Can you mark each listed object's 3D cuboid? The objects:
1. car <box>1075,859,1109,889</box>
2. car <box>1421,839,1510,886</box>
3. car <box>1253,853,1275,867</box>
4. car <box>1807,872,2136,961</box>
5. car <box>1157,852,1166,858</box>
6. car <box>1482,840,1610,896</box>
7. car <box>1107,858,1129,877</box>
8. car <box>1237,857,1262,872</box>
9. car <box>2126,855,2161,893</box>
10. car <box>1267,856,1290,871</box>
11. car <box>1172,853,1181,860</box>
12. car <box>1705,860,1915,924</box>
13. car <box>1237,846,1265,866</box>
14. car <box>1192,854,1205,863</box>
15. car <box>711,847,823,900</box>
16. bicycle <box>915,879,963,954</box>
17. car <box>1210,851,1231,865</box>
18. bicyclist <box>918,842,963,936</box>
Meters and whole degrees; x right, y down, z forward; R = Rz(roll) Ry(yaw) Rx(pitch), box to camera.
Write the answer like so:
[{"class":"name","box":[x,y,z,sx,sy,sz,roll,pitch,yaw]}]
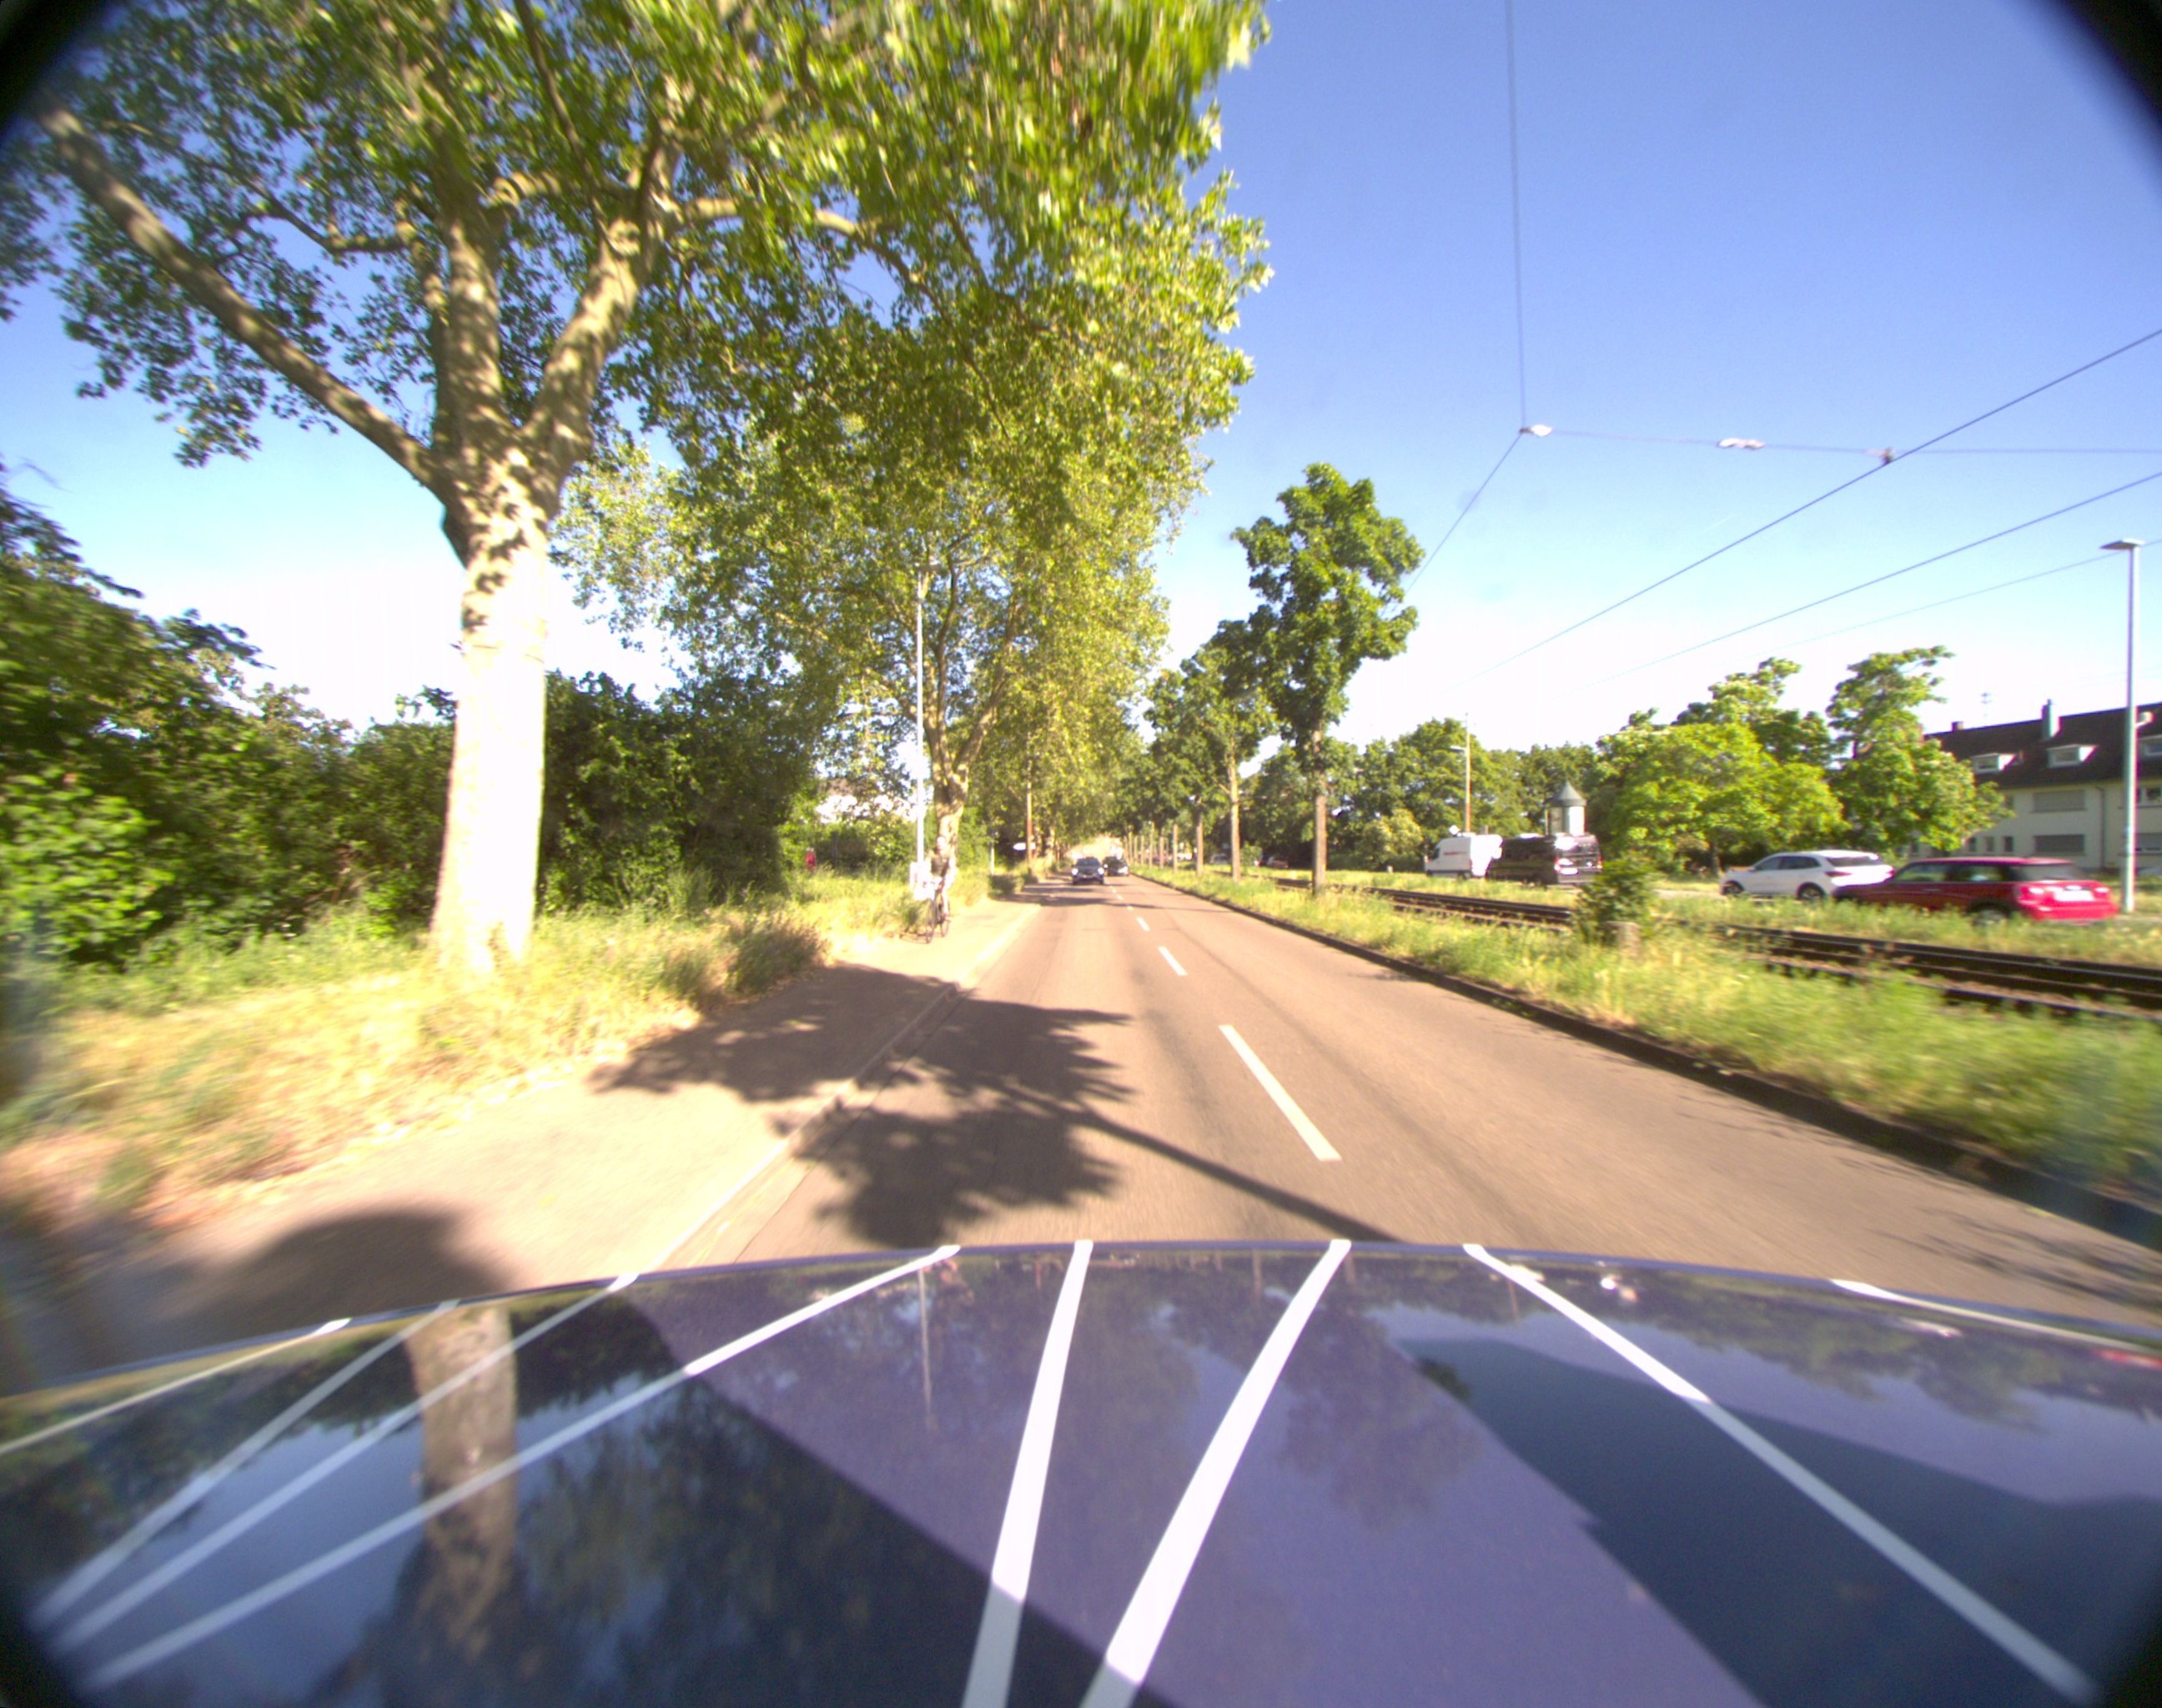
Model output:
[{"class":"car","box":[0.584,1.082,42.738,1.808,1.478,3.546,-2,1,0]},{"class":"car","box":[22.085,0.448,44.012,2.006,2.482,6.136,-2,1,0]},{"class":"car","box":[22.620,0.707,94.076,1.626,1.613,4.532,-2,1,1]},{"class":"car","box":[16.774,1.091,14.683,1.680,1.401,4.000,0,0,1]},{"class":"car","box":[20.182,0.288,190.313,1.731,1.519,4.442,-2,1,2]},{"class":"car","box":[21.770,0.558,36.014,2.188,2.362,6.464,-2,1,1]},{"class":"car","box":[3.110,1.093,63.925,1.714,1.478,3.547,-2,1,2]},{"class":"car","box":[17.677,1.106,79.869,1.998,1.522,3.751,0,0,2]},{"class":"car","box":[58.908,1.081,40.057,2.000,2.002,3.997,-2,1,-8]},{"class":"car","box":[22.618,1.104,86.992,1.678,1.575,4.248,-2,1,3]},{"class":"car","box":[21.950,0.583,175.039,1.731,1.519,4.442,-2,1,2]},{"class":"car","box":[21.643,1.047,22.905,1.827,1.598,4.773,-2,1,1]},{"class":"car","box":[22.696,0.304,101.608,2.231,2.565,6.799,-2,0,1]},{"class":"car","box":[19.467,0.694,126.283,1.561,1.387,3.820,-2,1,1]},{"class":"car","box":[-15.845,0.928,38.512,5.005,2.424,2.325,-2,0,-23]},{"class":"bicycle","box":[-2.475,1.054,13.401,0.441,1.146,1.823,-2,1,1]},{"class":"car","box":[17.900,0.480,97.820,1.815,1.734,4.981,-2,1,1]},{"class":"bicyclist","box":[-2.474,0.604,13.465,0.615,1.619,0.909,0,0,1]}]
